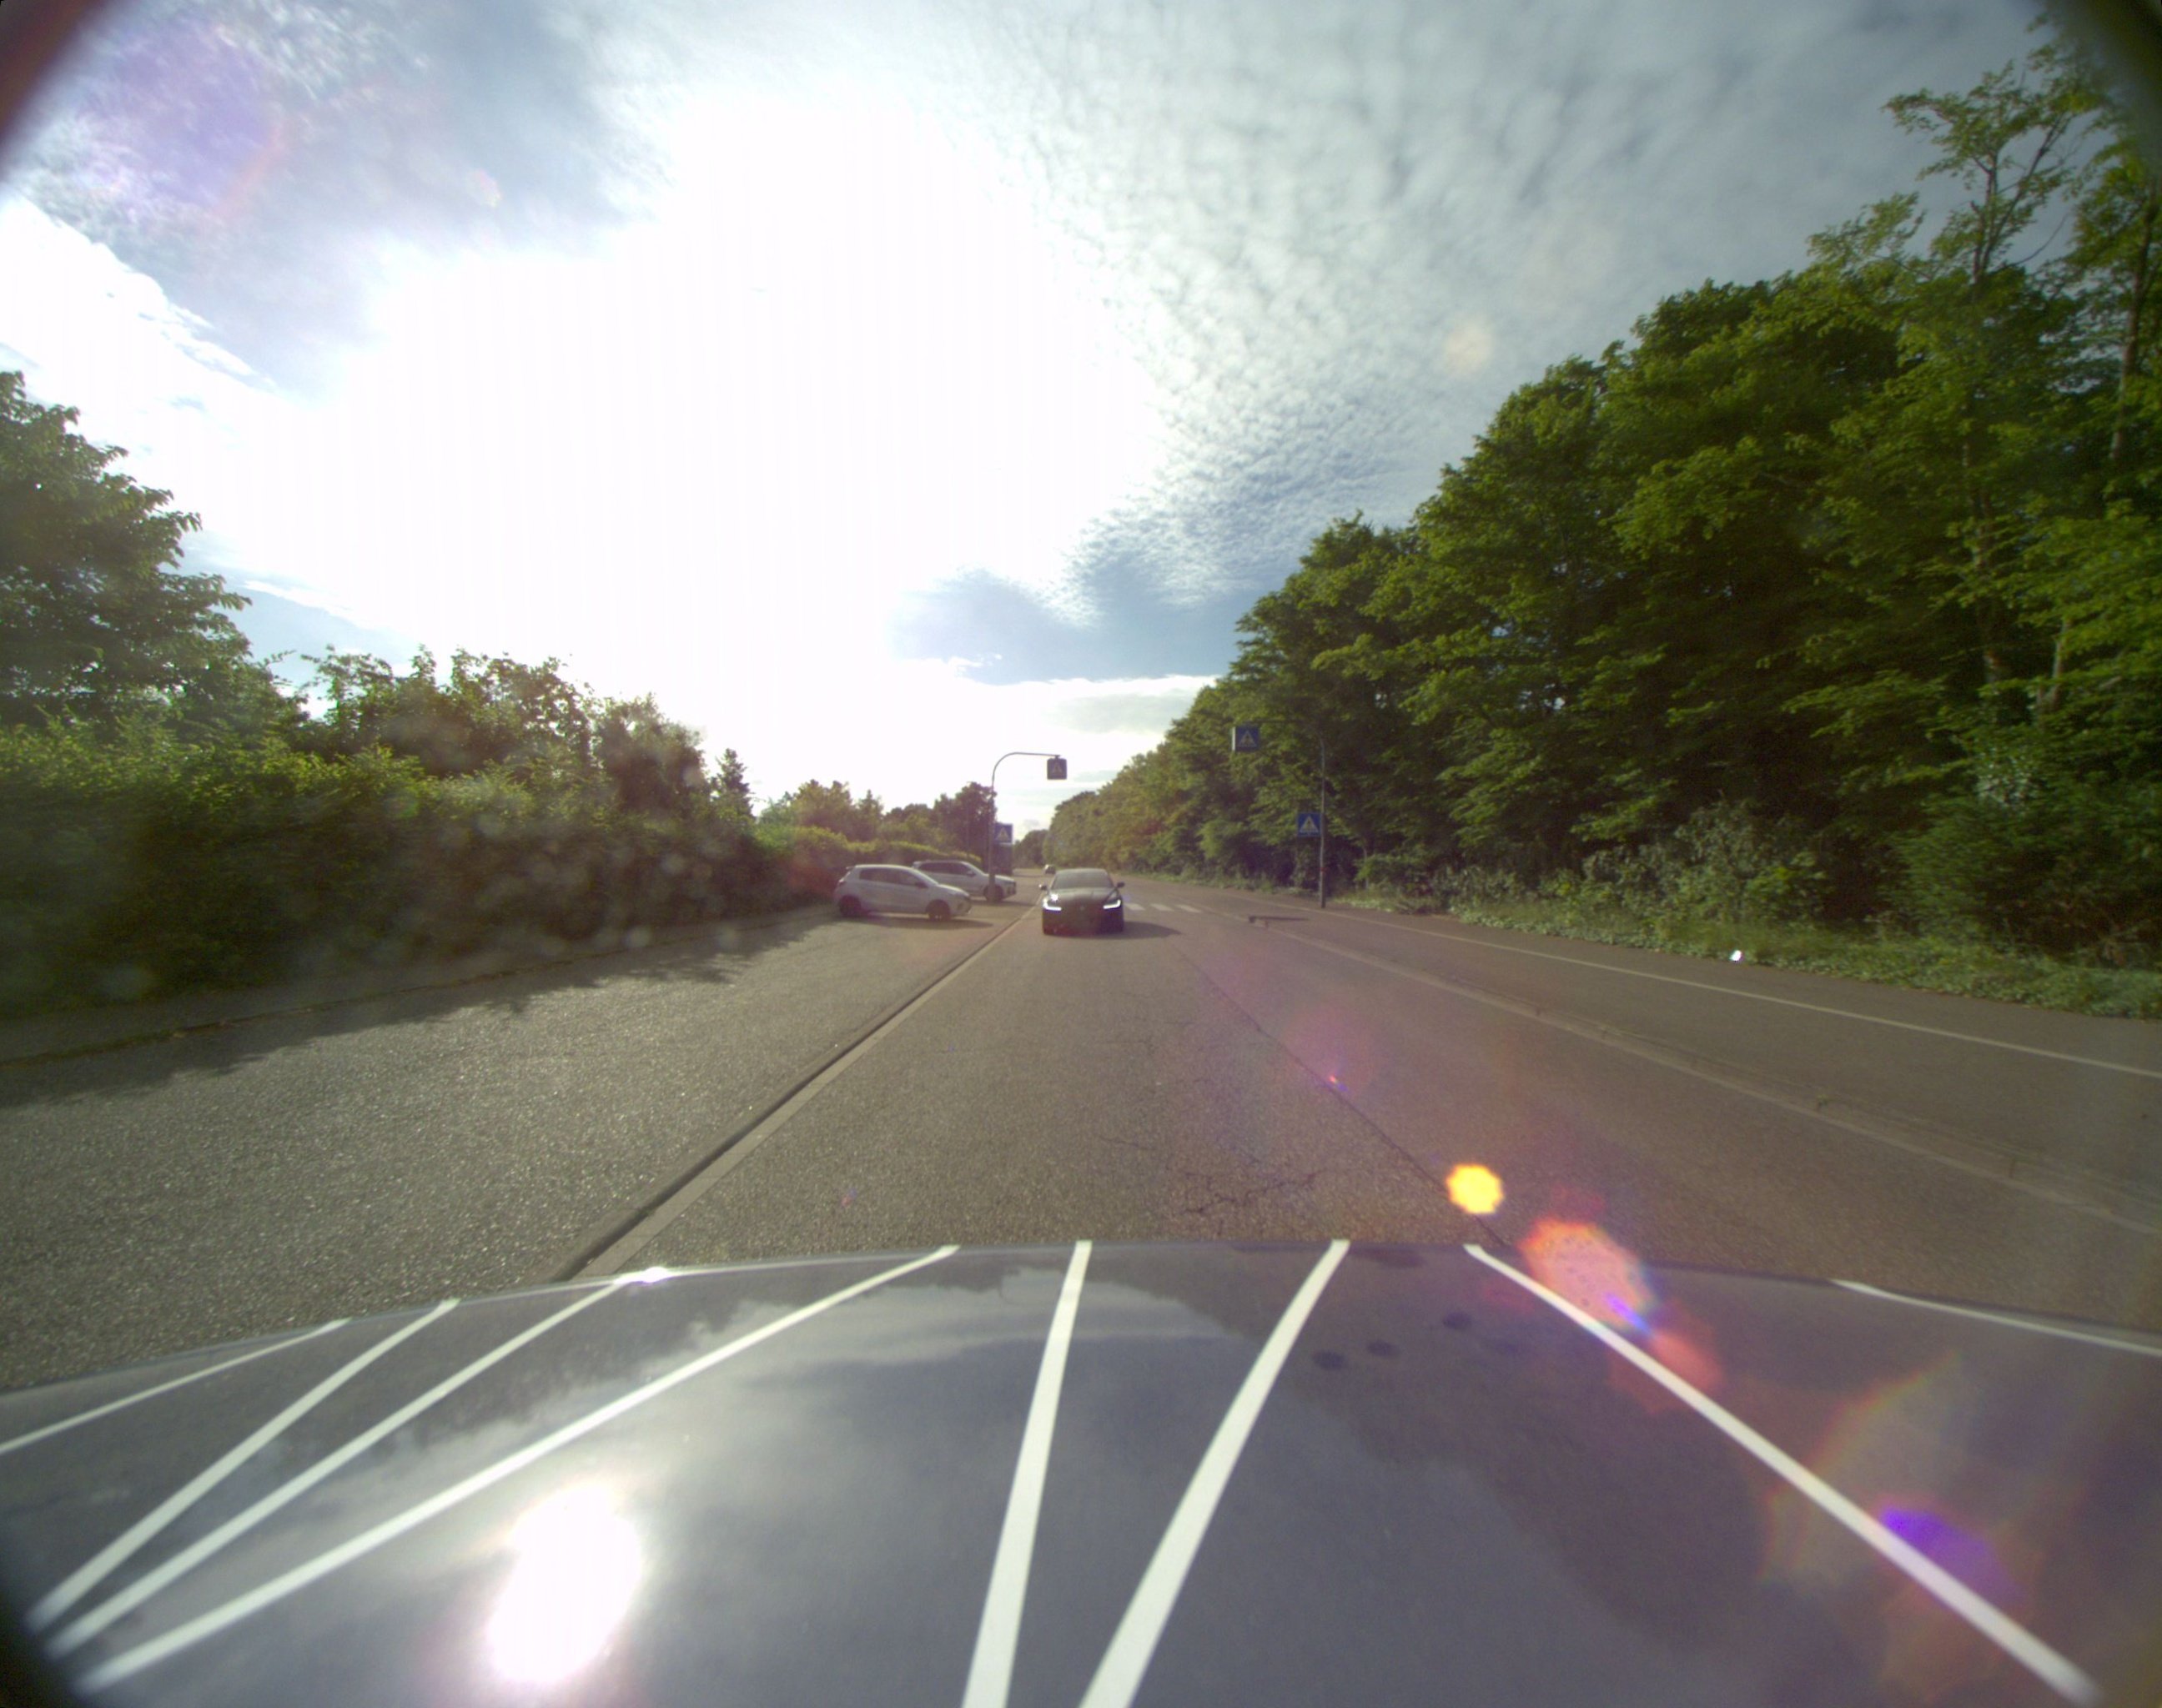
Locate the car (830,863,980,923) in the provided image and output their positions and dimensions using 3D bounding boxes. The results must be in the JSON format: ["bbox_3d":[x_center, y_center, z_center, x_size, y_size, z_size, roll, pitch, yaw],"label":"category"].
[{"bbox_3d":[-4.965,1.096,21.819,3.867,1.481,1.692,3,-1,-1],"label":"car"}]

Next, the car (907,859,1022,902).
[{"bbox_3d":[-4.924,1.116,32.538,4.599,1.689,1.763,1,0,1],"label":"car"}]

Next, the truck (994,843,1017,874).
[{"bbox_3d":[-10.149,0.593,102.108,2.604,3.935,6.279,3,-1,-8],"label":"truck"}]

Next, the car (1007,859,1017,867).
[{"bbox_3d":[-13.475,1.753,148.323,1.752,1.561,3.859,2,0,-7],"label":"car"}]

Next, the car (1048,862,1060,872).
[{"bbox_3d":[-4.692,2.246,131.029,1.807,1.576,4.100,1,0,-4],"label":"car"}]

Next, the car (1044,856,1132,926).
[{"bbox_3d":[0.120,0.824,19.047,1.936,1.500,4.679,-1,0,-1],"label":"car"}]
